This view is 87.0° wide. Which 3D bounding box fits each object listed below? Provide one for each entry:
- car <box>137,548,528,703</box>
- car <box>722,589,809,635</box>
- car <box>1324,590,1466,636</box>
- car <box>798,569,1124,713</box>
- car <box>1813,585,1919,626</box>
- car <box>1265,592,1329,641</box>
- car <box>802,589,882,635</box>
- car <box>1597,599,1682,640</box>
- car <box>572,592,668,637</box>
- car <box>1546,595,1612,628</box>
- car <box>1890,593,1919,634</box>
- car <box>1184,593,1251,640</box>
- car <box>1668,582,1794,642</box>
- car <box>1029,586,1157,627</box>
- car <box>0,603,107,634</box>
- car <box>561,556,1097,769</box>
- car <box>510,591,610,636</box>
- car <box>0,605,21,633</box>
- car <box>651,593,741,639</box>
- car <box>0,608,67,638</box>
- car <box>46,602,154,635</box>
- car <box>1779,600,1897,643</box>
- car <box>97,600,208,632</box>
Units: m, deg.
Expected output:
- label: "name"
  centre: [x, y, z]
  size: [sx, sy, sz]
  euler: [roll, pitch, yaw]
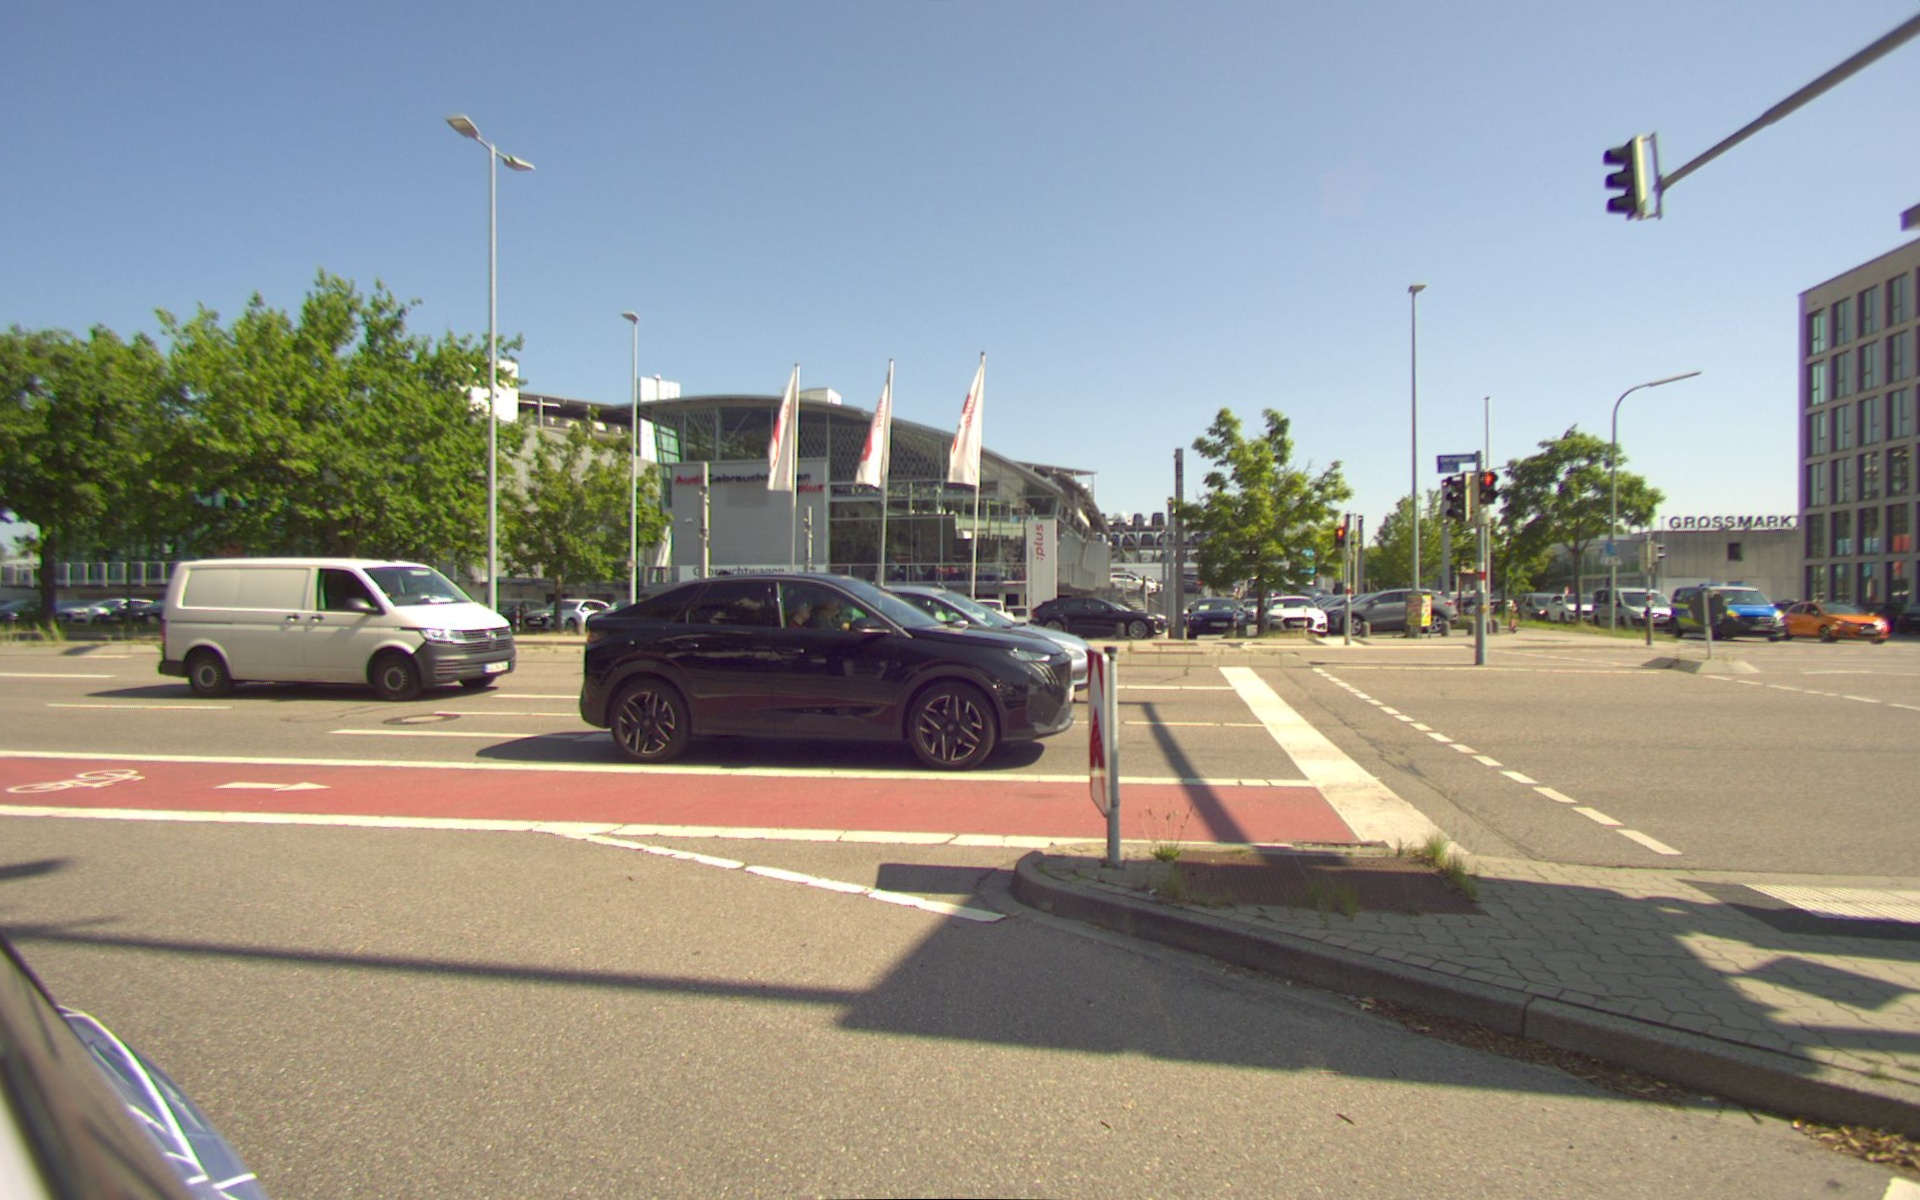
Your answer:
- label: "car"
  centre: [-8.961, 0.334, 14.574]
  size: [4.947, 2.022, 1.735]
  euler: [0, 1, 11]
- label: "car"
  centre: [-7.003, 0.448, 36.792]
  size: [1.909, 1.574, 3.876]
  euler: [0, -1, 10]
- label: "car"
  centre: [15.764, 0.460, 36.894]
  size: [4.438, 1.599, 1.971]
  euler: [0, -1, 14]
- label: "car"
  centre: [0.048, 0.466, 12.843]
  size: [3.800, 1.625, 1.749]
  euler: [-1, 0, 18]
- label: "car"
  centre: [46.339, 0.283, 51.676]
  size: [3.989, 2.029, 1.977]
  euler: [0, 0, 34]
- label: "car"
  centre: [11.009, 0.492, 33.221]
  size: [1.873, 1.472, 3.978]
  euler: [-1, 0, 17]
- label: "car"
  centre: [-4.179, 0.444, 36.382]
  size: [1.867, 1.558, 3.876]
  euler: [0, -1, 10]
- label: "car"
  centre: [27.828, 0.766, 41.587]
  size: [1.652, 1.568, 3.838]
  euler: [-1, 0, 14]
- label: "car"
  centre: [-12.559, 0.542, 37.604]
  size: [1.767, 1.585, 3.876]
  euler: [0, -1, 10]
- label: "car"
  centre: [29.783, 0.514, 48.800]
  size: [1.900, 1.504, 3.841]
  euler: [-1, 0, 19]
- label: "car"
  centre: [44.044, 0.604, 44.751]
  size: [3.989, 1.841, 1.977]
  euler: [0, 0, 34]
- label: "car"
  centre: [8.607, 0.533, 33.608]
  size: [1.983, 1.472, 3.977]
  euler: [0, -1, 17]
- label: "car"
  centre: [26.571, 0.397, 35.079]
  size: [2.171, 1.923, 4.698]
  euler: [0, -1, 21]
- label: "car"
  centre: [4.634, 0.243, 35.182]
  size: [4.305, 1.360, 1.815]
  euler: [0, -1, 11]
- label: "car"
  centre: [-39.070, 0.780, 43.505]
  size: [1.581, 1.258, 3.399]
  euler: [0, -1, 16]
- label: "car"
  centre: [-1.067, 0.527, 9.101]
  size: [4.456, 1.639, 1.710]
  euler: [-1, 1, 11]
- label: "car"
  centre: [-15.002, 0.502, 38.167]
  size: [1.767, 1.585, 3.876]
  euler: [0, -1, 10]
- label: "car"
  centre: [-43.877, 0.840, 44.561]
  size: [1.581, 1.258, 3.399]
  euler: [0, -1, 16]
- label: "car"
  centre: [-9.613, 0.587, 37.106]
  size: [1.767, 1.585, 3.876]
  euler: [0, -1, 10]
- label: "car"
  centre: [-41.166, 0.976, 43.881]
  size: [1.581, 1.258, 3.399]
  euler: [0, -1, 16]
- label: "car"
  centre: [-36.392, 0.771, 42.911]
  size: [1.627, 1.334, 3.154]
  euler: [0, -1, 16]
- label: "car"
  centre: [29.477, 0.692, 34.125]
  size: [1.727, 1.374, 3.839]
  euler: [0, -1, 20]
- label: "car"
  centre: [-33.897, 0.659, 42.581]
  size: [1.581, 1.258, 3.399]
  euler: [0, -1, 16]
